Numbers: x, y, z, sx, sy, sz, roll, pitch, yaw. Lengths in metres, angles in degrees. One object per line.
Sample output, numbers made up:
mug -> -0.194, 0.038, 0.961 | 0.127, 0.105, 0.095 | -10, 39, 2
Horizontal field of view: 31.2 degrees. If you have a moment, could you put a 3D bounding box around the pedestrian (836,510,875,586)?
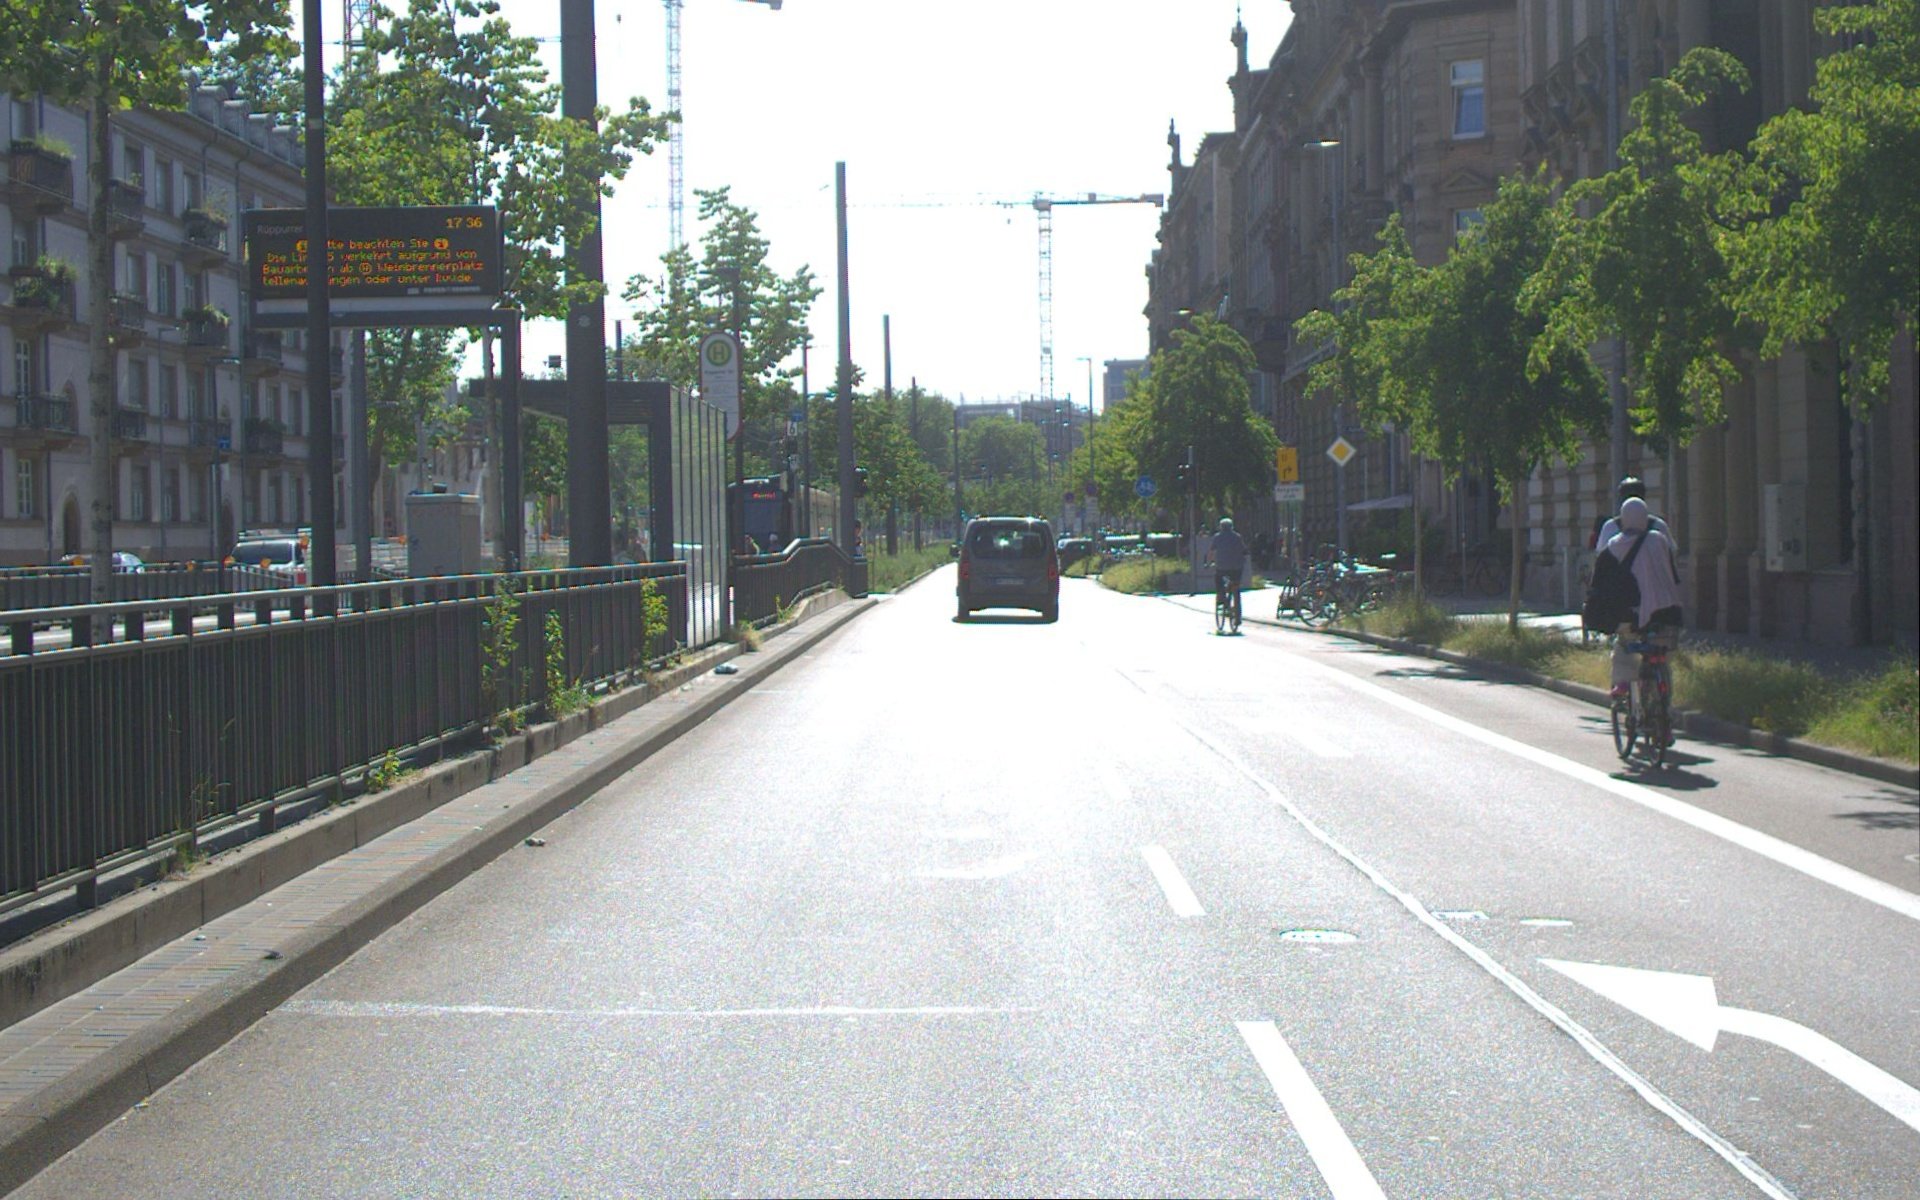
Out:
pedestrian -> -2.482, -1.242, 81.826 | 0.865, 1.782, 0.971 | 0, 1, -6

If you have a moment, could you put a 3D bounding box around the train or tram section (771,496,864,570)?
train or tram section -> -5.490, -2.560, 133.837 | 2.756, 2.733, 9.863 | 0, 0, 3

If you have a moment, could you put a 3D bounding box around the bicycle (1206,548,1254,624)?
bicycle -> 4.324, -0.232, 55.167 | 0.601, 1.177, 1.869 | 1, 1, 0

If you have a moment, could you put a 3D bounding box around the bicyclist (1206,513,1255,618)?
bicyclist -> 4.346, -0.565, 55.348 | 0.684, 1.667, 0.922 | 1, 1, 0

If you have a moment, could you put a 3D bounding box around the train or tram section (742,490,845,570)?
train or tram section -> -5.931, -2.479, 123.955 | 2.756, 2.733, 9.863 | 0, 0, 3

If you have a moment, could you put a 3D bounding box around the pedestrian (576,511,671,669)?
pedestrian -> -3.331, -0.108, 34.042 | 0.813, 1.531, 0.798 | -1, 1, 2

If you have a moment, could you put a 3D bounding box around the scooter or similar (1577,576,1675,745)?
scooter or similar -> 5.042, 0.444, 26.063 | 0.490, 1.222, 1.170 | 1, 1, 0

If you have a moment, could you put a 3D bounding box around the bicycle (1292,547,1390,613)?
bicycle -> 6.574, -0.350, 59.350 | 1.600, 1.042, 0.607 | -3, 1, 4

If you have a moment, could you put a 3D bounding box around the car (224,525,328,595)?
car -> -18.140, -1.058, 91.275 | 1.820, 1.788, 4.089 | 0, 0, 2

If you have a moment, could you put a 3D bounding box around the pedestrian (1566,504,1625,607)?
pedestrian -> 9.662, -0.674, 52.285 | 0.709, 1.536, 0.927 | -1, 1, 0

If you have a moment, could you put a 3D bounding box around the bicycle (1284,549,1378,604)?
bicycle -> 6.810, -0.434, 63.046 | 1.670, 0.940, 0.606 | -2, 1, 8

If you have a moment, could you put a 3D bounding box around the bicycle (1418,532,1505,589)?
bicycle -> 10.966, -0.857, 75.203 | 1.818, 1.167, 0.654 | -1, 4, 4

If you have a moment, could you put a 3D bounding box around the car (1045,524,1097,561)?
car -> 4.653, -2.409, 144.902 | 2.028, 1.493, 4.654 | -1, 1, 0

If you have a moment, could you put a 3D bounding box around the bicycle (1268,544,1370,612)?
bicycle -> 6.359, -0.392, 60.908 | 1.723, 1.097, 0.607 | -3, 1, 4

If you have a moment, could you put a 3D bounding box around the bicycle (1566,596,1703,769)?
bicycle -> 4.578, 0.538, 23.427 | 0.557, 1.089, 1.792 | 1, 1, 0

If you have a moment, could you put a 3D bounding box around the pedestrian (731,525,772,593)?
pedestrian -> -4.716, -0.935, 77.669 | 0.865, 1.531, 0.909 | 0, 1, 1

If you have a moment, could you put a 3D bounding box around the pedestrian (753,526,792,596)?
pedestrian -> -4.173, -0.871, 76.569 | 0.813, 1.531, 0.798 | 0, 1, 2

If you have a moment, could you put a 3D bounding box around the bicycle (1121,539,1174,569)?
bicycle -> 6.554, -1.617, 120.148 | 1.792, 1.027, 0.527 | -1, 1, 1

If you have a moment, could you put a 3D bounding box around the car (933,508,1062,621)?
car -> 0.661, -0.651, 61.918 | 2.200, 1.919, 4.654 | -1, 1, 0

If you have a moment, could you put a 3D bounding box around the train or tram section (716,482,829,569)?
train or tram section -> -6.137, -2.397, 114.110 | 2.756, 2.733, 9.863 | 0, 0, 3

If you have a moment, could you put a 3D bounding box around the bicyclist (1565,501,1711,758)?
bicyclist -> 4.598, 0.187, 23.359 | 0.779, 1.705, 0.869 | 1, 1, 0

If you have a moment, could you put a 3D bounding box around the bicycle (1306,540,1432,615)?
bicycle -> 6.901, -0.381, 58.033 | 1.995, 1.124, 0.710 | -3, 1, 2

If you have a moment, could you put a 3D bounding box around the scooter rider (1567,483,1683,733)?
scooter rider -> 5.039, 0.050, 26.077 | 0.666, 1.854, 0.901 | 1, 1, 0

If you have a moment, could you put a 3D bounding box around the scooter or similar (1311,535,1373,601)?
scooter or similar -> 7.165, -0.605, 64.448 | 1.111, 1.185, 0.419 | -2, 1, 8

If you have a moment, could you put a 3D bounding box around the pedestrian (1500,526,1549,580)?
pedestrian -> 12.577, -1.047, 76.569 | 0.849, 1.210, 0.934 | 0, 1, -6

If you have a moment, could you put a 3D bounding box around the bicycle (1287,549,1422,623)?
bicycle -> 6.502, -0.238, 56.669 | 1.994, 1.089, 0.847 | -4, 1, -9
